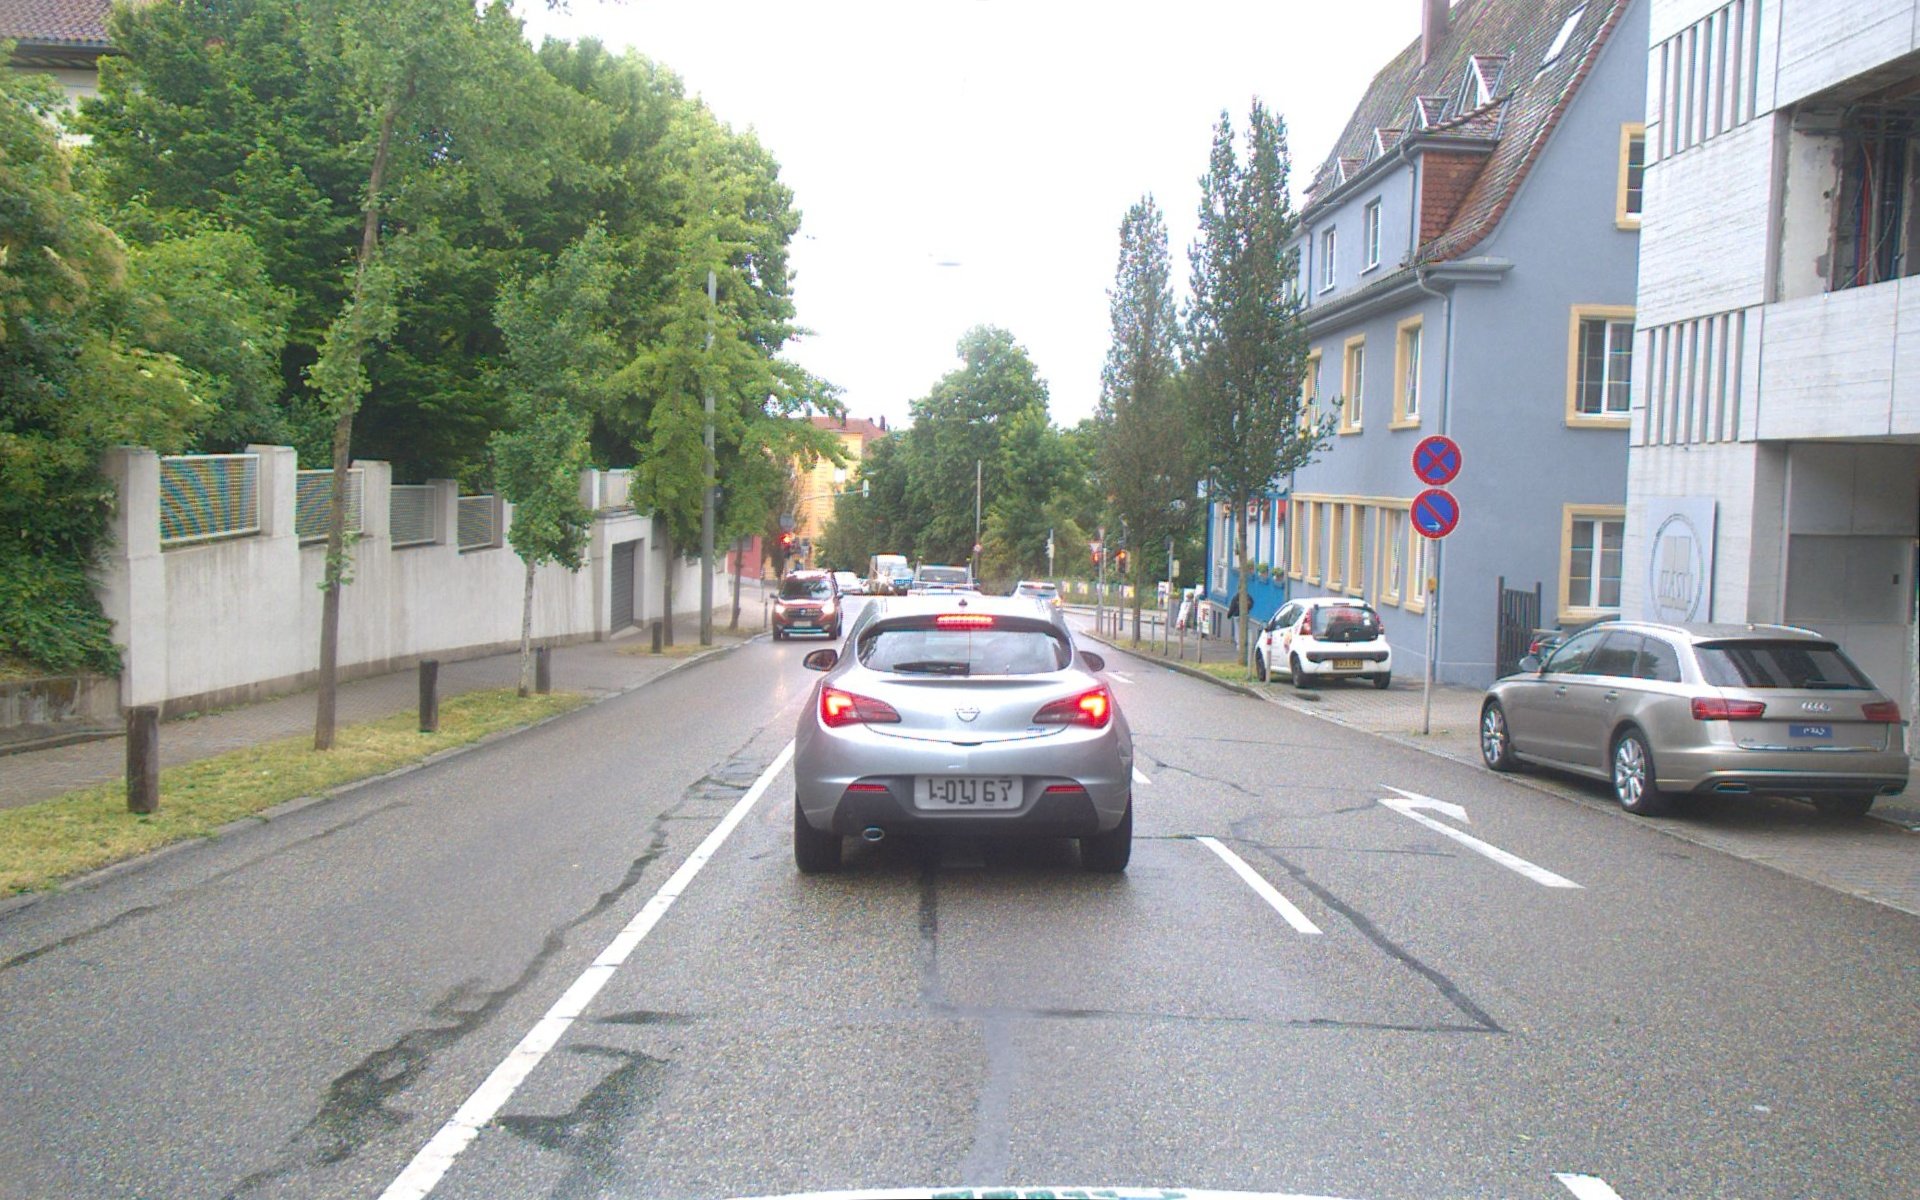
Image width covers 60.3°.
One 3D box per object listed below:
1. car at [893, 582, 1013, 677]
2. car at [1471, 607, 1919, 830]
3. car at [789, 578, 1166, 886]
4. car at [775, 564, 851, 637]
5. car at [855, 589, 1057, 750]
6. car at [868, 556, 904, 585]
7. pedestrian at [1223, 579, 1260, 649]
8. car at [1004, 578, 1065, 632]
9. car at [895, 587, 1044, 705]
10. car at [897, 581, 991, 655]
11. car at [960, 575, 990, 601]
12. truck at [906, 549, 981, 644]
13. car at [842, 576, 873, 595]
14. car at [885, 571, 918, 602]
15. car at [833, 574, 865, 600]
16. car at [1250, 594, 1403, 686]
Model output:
[{"bbox_3d":[-0.185,0.466,29.423,1.922,1.473,4.304,2,1,-2],"label":"car"},{"bbox_3d":[6.050,0.848,13.896,1.923,1.473,4.524,1,1,-3],"label":"car"},{"bbox_3d":[0.005,0.628,9.934,1.800,1.459,3.878,1,0,-3],"label":"car"},{"bbox_3d":[-3.920,0.002,44.781,1.711,1.860,4.458,-1,0,-1],"label":"car"},{"bbox_3d":[-0.105,0.666,18.323,1.922,1.473,4.304,2,1,-2],"label":"car"},{"bbox_3d":[-4.505,-1.772,100.173,1.691,1.666,3.871,0,0,-9],"label":"car"},{"bbox_3d":[7.242,0.350,42.542,0.767,1.759,0.650,2,0,-1],"label":"pedestrian"},{"bbox_3d":[2.441,0.151,55.155,1.688,1.744,3.878,0,0,-3],"label":"car"},{"bbox_3d":[0.059,0.593,24.047,1.922,1.473,4.304,2,1,-2],"label":"car"},{"bbox_3d":[-0.404,0.353,37.081,1.922,1.473,4.304,2,1,-2],"label":"car"},{"bbox_3d":[0.980,-0.804,108.914,1.689,1.666,3.876,0,0,-4],"label":"car"},{"bbox_3d":[-0.524,-0.131,47.079,1.922,2.471,4.934,2,1,-2],"label":"truck"},{"bbox_3d":[-8.640,-1.198,139.209,1.696,1.570,3.859,0,0,-18],"label":"car"},{"bbox_3d":[-3.271,-0.767,92.555,1.833,1.666,3.878,0,0,-2],"label":"car"},{"bbox_3d":[-6.407,-0.742,95.692,1.688,1.485,3.878,0,0,-2],"label":"car"},{"bbox_3d":[6.282,0.639,28.780,1.688,1.473,3.878,0,0,-2],"label":"car"}]
